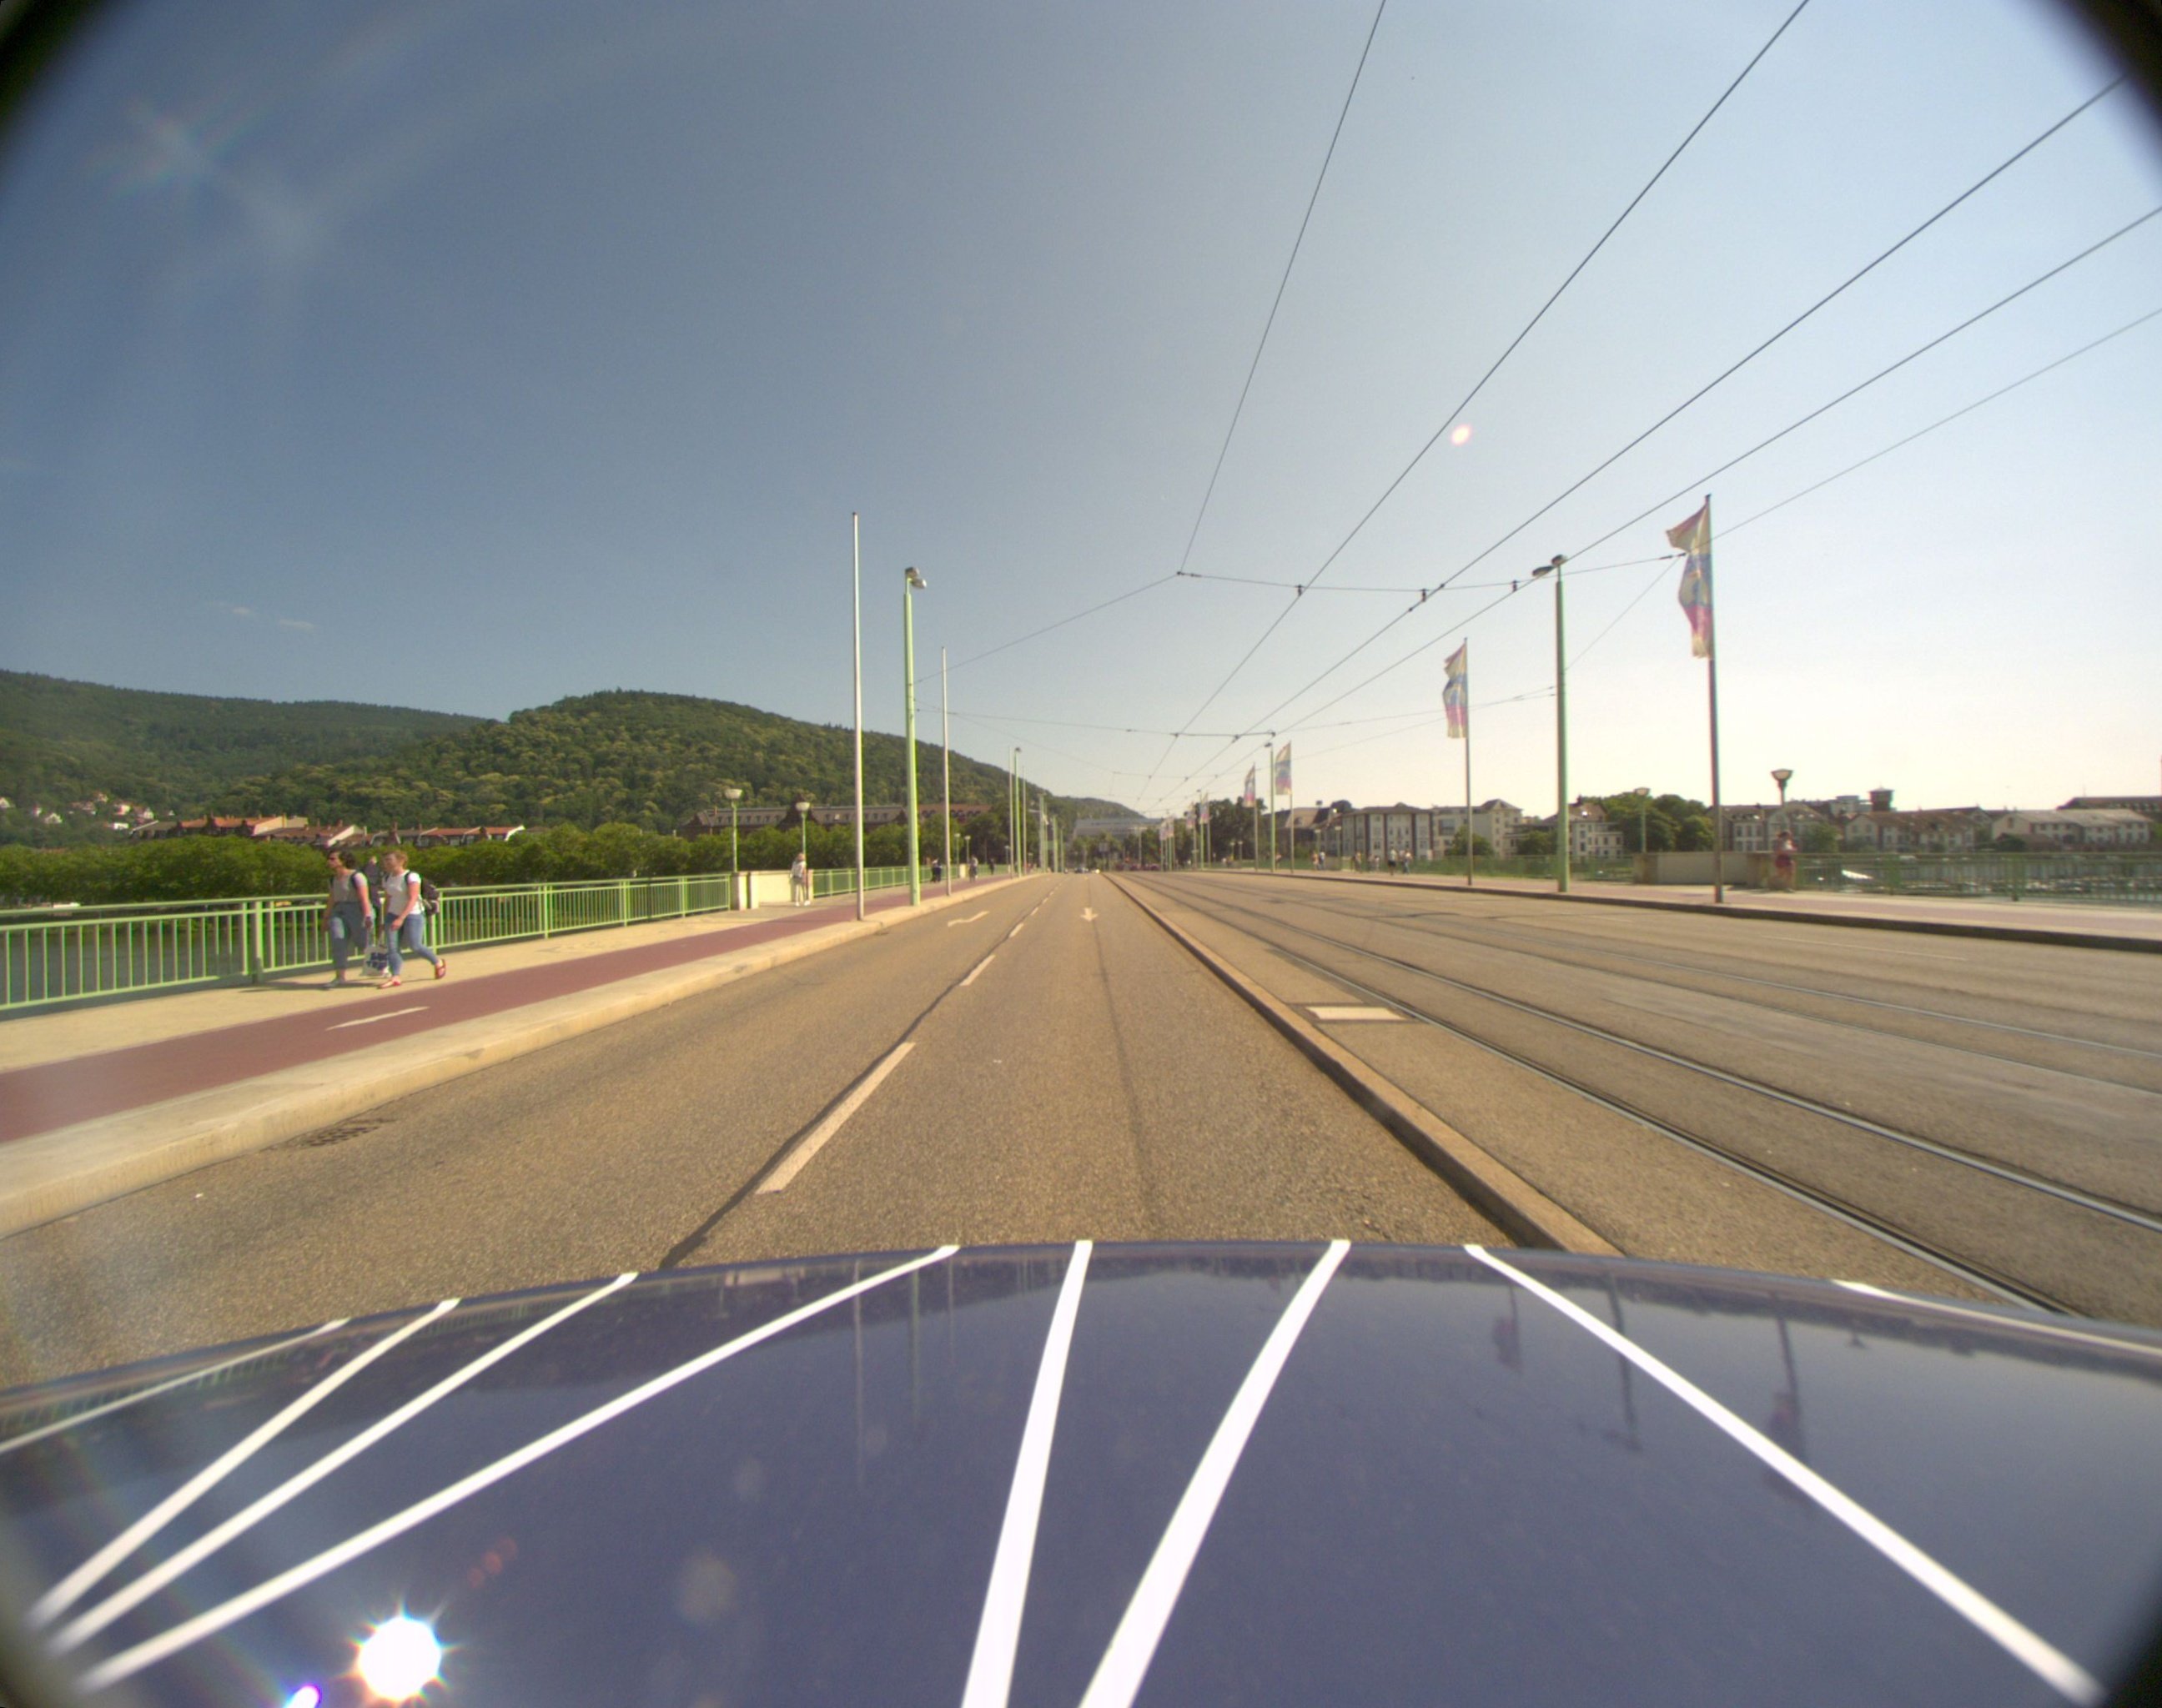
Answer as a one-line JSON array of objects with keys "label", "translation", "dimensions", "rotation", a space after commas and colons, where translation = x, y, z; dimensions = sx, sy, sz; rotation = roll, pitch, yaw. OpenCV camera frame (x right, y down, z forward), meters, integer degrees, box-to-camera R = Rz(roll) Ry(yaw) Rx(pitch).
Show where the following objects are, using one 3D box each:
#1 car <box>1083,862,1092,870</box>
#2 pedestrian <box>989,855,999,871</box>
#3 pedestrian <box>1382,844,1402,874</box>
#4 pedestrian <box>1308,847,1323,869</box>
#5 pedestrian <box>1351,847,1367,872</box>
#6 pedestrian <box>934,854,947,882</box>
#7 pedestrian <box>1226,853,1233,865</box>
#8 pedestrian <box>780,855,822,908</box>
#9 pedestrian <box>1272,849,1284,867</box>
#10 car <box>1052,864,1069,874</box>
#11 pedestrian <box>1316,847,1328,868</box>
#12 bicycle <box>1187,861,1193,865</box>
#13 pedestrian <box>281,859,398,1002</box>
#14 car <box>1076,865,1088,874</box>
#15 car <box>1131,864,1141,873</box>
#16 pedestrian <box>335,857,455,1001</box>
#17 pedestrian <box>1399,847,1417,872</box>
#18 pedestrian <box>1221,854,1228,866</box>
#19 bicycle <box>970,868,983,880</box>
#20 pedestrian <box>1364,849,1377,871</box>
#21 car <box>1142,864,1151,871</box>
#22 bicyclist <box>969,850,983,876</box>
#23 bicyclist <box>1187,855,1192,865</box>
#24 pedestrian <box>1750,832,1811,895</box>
[{"label": "car", "translation": [1.559, 2.818, 176.371], "dimensions": [1.998, 1.687, 3.999], "rotation": [-3, 1, 1]}, {"label": "pedestrian", "translation": [-9.115, 0.935, 79.592], "dimensions": [0.950, 1.653, 1.082], "rotation": [1, 0, 0]}, {"label": "pedestrian", "translation": [18.404, 0.298, 44.984], "dimensions": [0.671, 1.690, 1.022], "rotation": [-3, 1, 0]}, {"label": "pedestrian", "translation": [18.743, 0.342, 60.720], "dimensions": [0.787, 1.690, 1.022], "rotation": [-4, 1, 0]}, {"label": "pedestrian", "translation": [18.834, 0.372, 51.544], "dimensions": [0.627, 1.590, 1.022], "rotation": [-3, 1, 0]}, {"label": "pedestrian", "translation": [-8.594, 0.827, 46.533], "dimensions": [0.664, 1.696, 0.859], "rotation": [0, 1, 0]}, {"label": "pedestrian", "translation": [20.307, 0.695, 104.083], "dimensions": [0.592, 1.690, 0.905], "rotation": [-6, 0, 0]}, {"label": "pedestrian", "translation": [-8.938, 0.863, 24.311], "dimensions": [0.950, 1.653, 1.082], "rotation": [0, 1, 0]}, {"label": "pedestrian", "translation": [18.991, 0.412, 73.136], "dimensions": [0.787, 1.690, 1.022], "rotation": [-4, 1, 0]}, {"label": "car", "translation": [-5.227, 3.811, 195.004], "dimensions": [3.998, 2.002, 2.000], "rotation": [-6, 0, -2]}, {"label": "pedestrian", "translation": [19.656, 0.292, 62.040], "dimensions": [0.592, 1.690, 1.022], "rotation": [-3, 1, 0]}, {"label": "bicycle", "translation": [18.170, 1.527, 126.844], "dimensions": [0.667, 0.712, 2.173], "rotation": [-1, 0, 1]}, {"label": "pedestrian", "translation": [-8.907, 0.885, 9.159], "dimensions": [0.669, 1.649, 0.746], "rotation": [0, 1, 0]}, {"label": "car", "translation": [0.188, 2.845, 141.998], "dimensions": [1.998, 1.379, 4.000], "rotation": [-6, 0, 1]}, {"label": "car", "translation": [11.371, 3.029, 157.527], "dimensions": [1.714, 1.686, 4.000], "rotation": [-5, 0, 1]}, {"label": "pedestrian", "translation": [-8.212, 0.861, 9.137], "dimensions": [0.664, 1.649, 0.825], "rotation": [0, 1, 0]}, {"label": "pedestrian", "translation": [19.315, 0.327, 44.888], "dimensions": [0.592, 1.406, 1.022], "rotation": [-3, 0, 0]}, {"label": "pedestrian", "translation": [19.633, 0.814, 104.100], "dimensions": [0.592, 1.690, 1.022], "rotation": [-6, 0, 0]}, {"label": "bicycle", "translation": [-6.856, 1.315, 49.979], "dimensions": [0.595, 0.761, 1.866], "rotation": [0, 0, 1]}, {"label": "pedestrian", "translation": [19.579, 0.422, 51.418], "dimensions": [0.547, 1.429, 0.789], "rotation": [-3, 1, 0]}, {"label": "car", "translation": [14.154, 2.936, 165.347], "dimensions": [1.672, 1.428, 4.000], "rotation": [-1, 1, 1]}, {"label": "bicyclist", "translation": [-6.862, 0.599, 49.665], "dimensions": [0.731, 1.655, 0.844], "rotation": [0, 0, 1]}, {"label": "bicyclist", "translation": [18.154, 0.972, 126.834], "dimensions": [0.666, 1.641, 0.622], "rotation": [-1, 1, 1]}, {"label": "pedestrian", "translation": [19.385, 0.252, 21.086], "dimensions": [0.686, 1.680, 1.022], "rotation": [-3, 1, 0]}]
